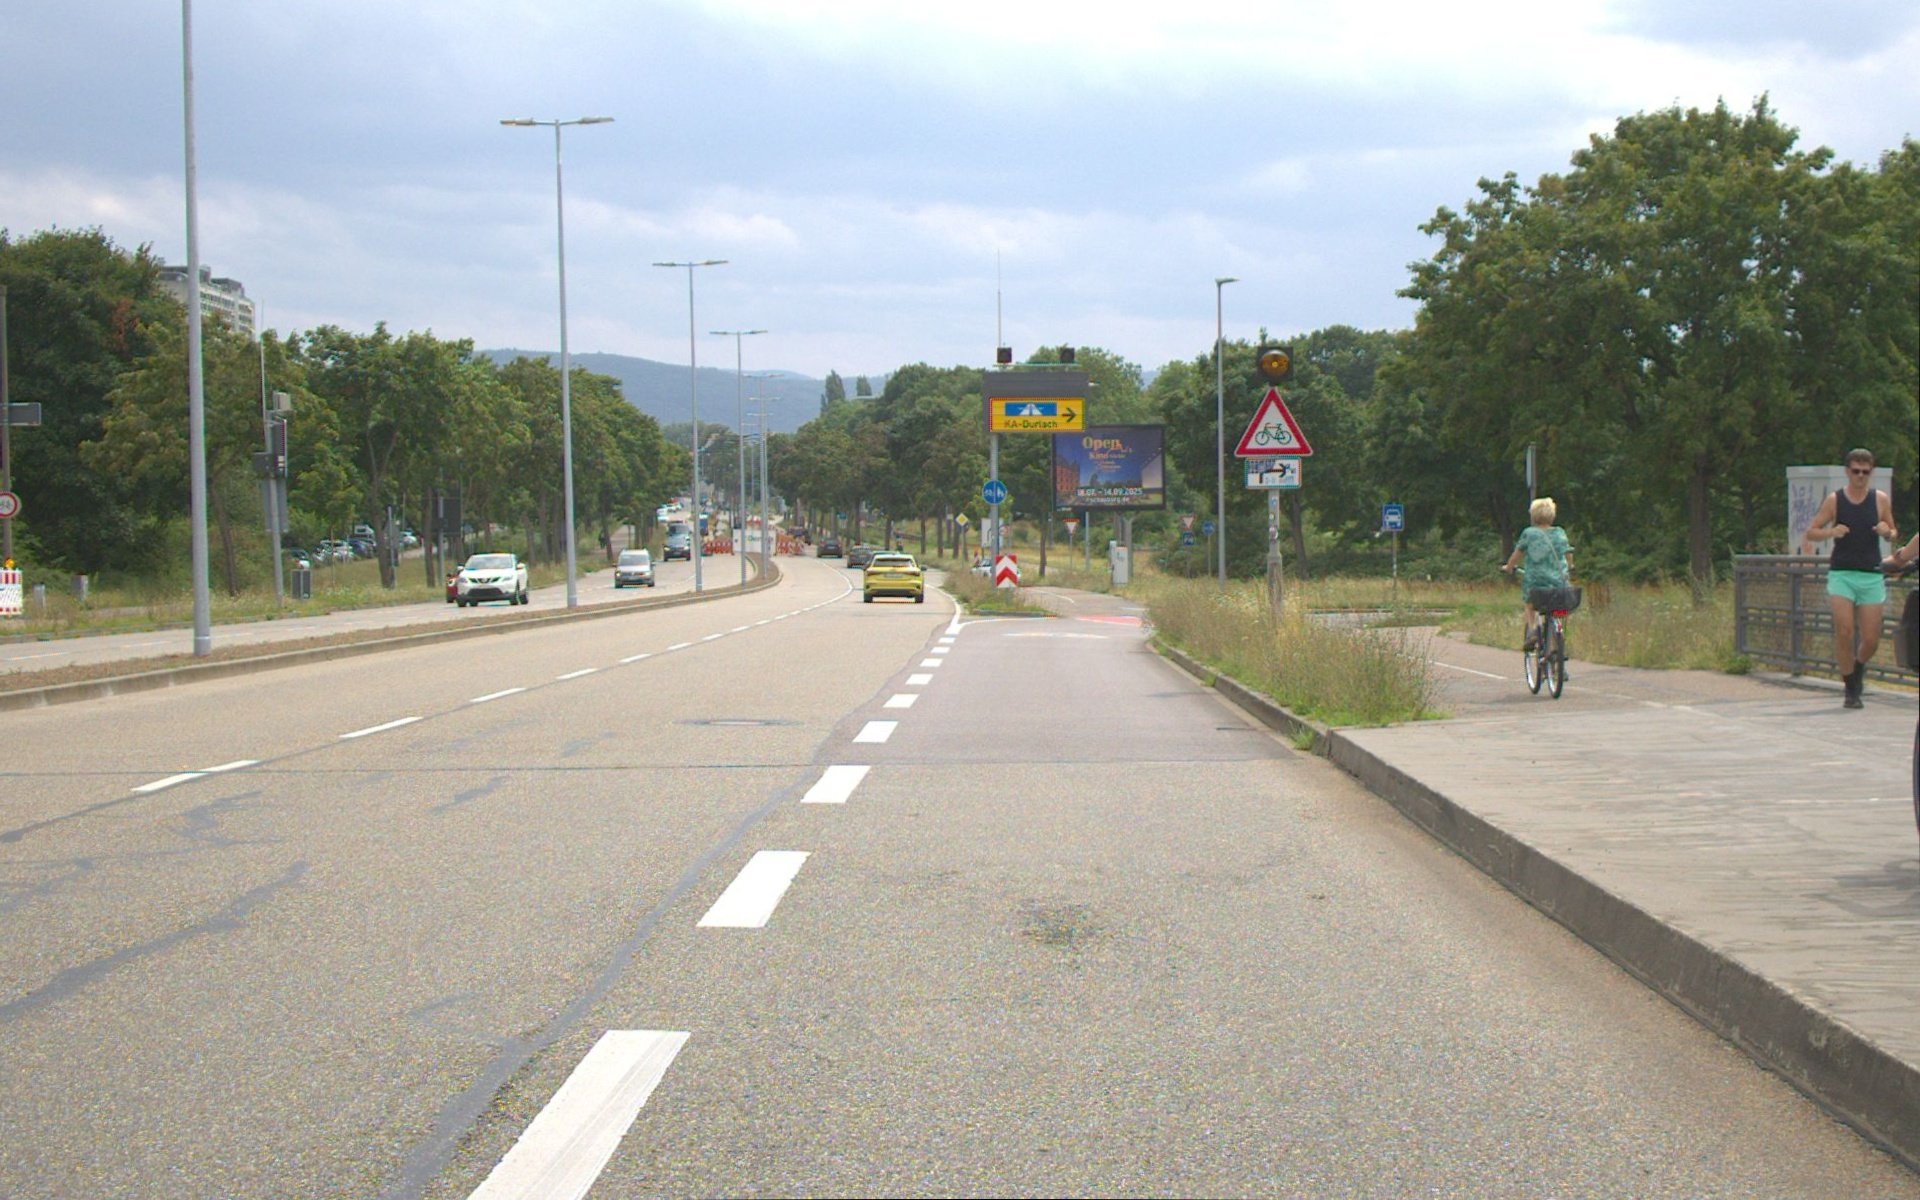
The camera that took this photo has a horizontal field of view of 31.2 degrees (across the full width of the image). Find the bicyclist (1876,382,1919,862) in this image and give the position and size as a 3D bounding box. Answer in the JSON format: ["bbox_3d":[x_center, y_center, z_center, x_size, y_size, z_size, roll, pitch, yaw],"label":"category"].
[{"bbox_3d":[3.846,0.077,12.576,0.703,1.749,0.991,0,1,-1],"label":"bicyclist"}]

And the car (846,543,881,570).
[{"bbox_3d":[-6.311,-2.855,225.194,2.206,1.678,4.001,0,2,-1],"label":"car"}]

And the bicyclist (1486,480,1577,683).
[{"bbox_3d":[4.723,-0.159,28.434,0.621,1.660,0.669,0,2,-1],"label":"bicyclist"}]

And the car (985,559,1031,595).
[{"bbox_3d":[2.301,-1.126,166.334,2.013,1.665,4.001,0,2,-2],"label":"car"}]

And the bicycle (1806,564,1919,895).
[{"bbox_3d":[3.844,0.474,12.853,0.693,1.188,2.461,-1,1,-1],"label":"bicycle"}]

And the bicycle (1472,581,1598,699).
[{"bbox_3d":[4.740,0.314,28.458,0.623,0.885,2.155,0,2,-1],"label":"bicycle"}]

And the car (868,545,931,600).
[{"bbox_3d":[-1.833,-0.833,102.468,1.793,1.556,4.001,0,2,-2],"label":"car"}]

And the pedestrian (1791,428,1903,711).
[{"bbox_3d":[6.365,-0.225,24.702,0.627,2.006,0.668,0,2,1],"label":"pedestrian"}]

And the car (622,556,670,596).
[{"bbox_3d":[-15.062,-1.151,165.061,1.902,1.803,4.540,0,2,-1],"label":"car"}]

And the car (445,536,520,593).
[{"bbox_3d":[-17.298,-1.258,124.797,1.993,1.875,4.000,4,0,1],"label":"car"}]

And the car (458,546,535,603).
[{"bbox_3d":[-14.043,-0.783,104.270,1.694,1.623,4.384,0,2,1],"label":"car"}]
